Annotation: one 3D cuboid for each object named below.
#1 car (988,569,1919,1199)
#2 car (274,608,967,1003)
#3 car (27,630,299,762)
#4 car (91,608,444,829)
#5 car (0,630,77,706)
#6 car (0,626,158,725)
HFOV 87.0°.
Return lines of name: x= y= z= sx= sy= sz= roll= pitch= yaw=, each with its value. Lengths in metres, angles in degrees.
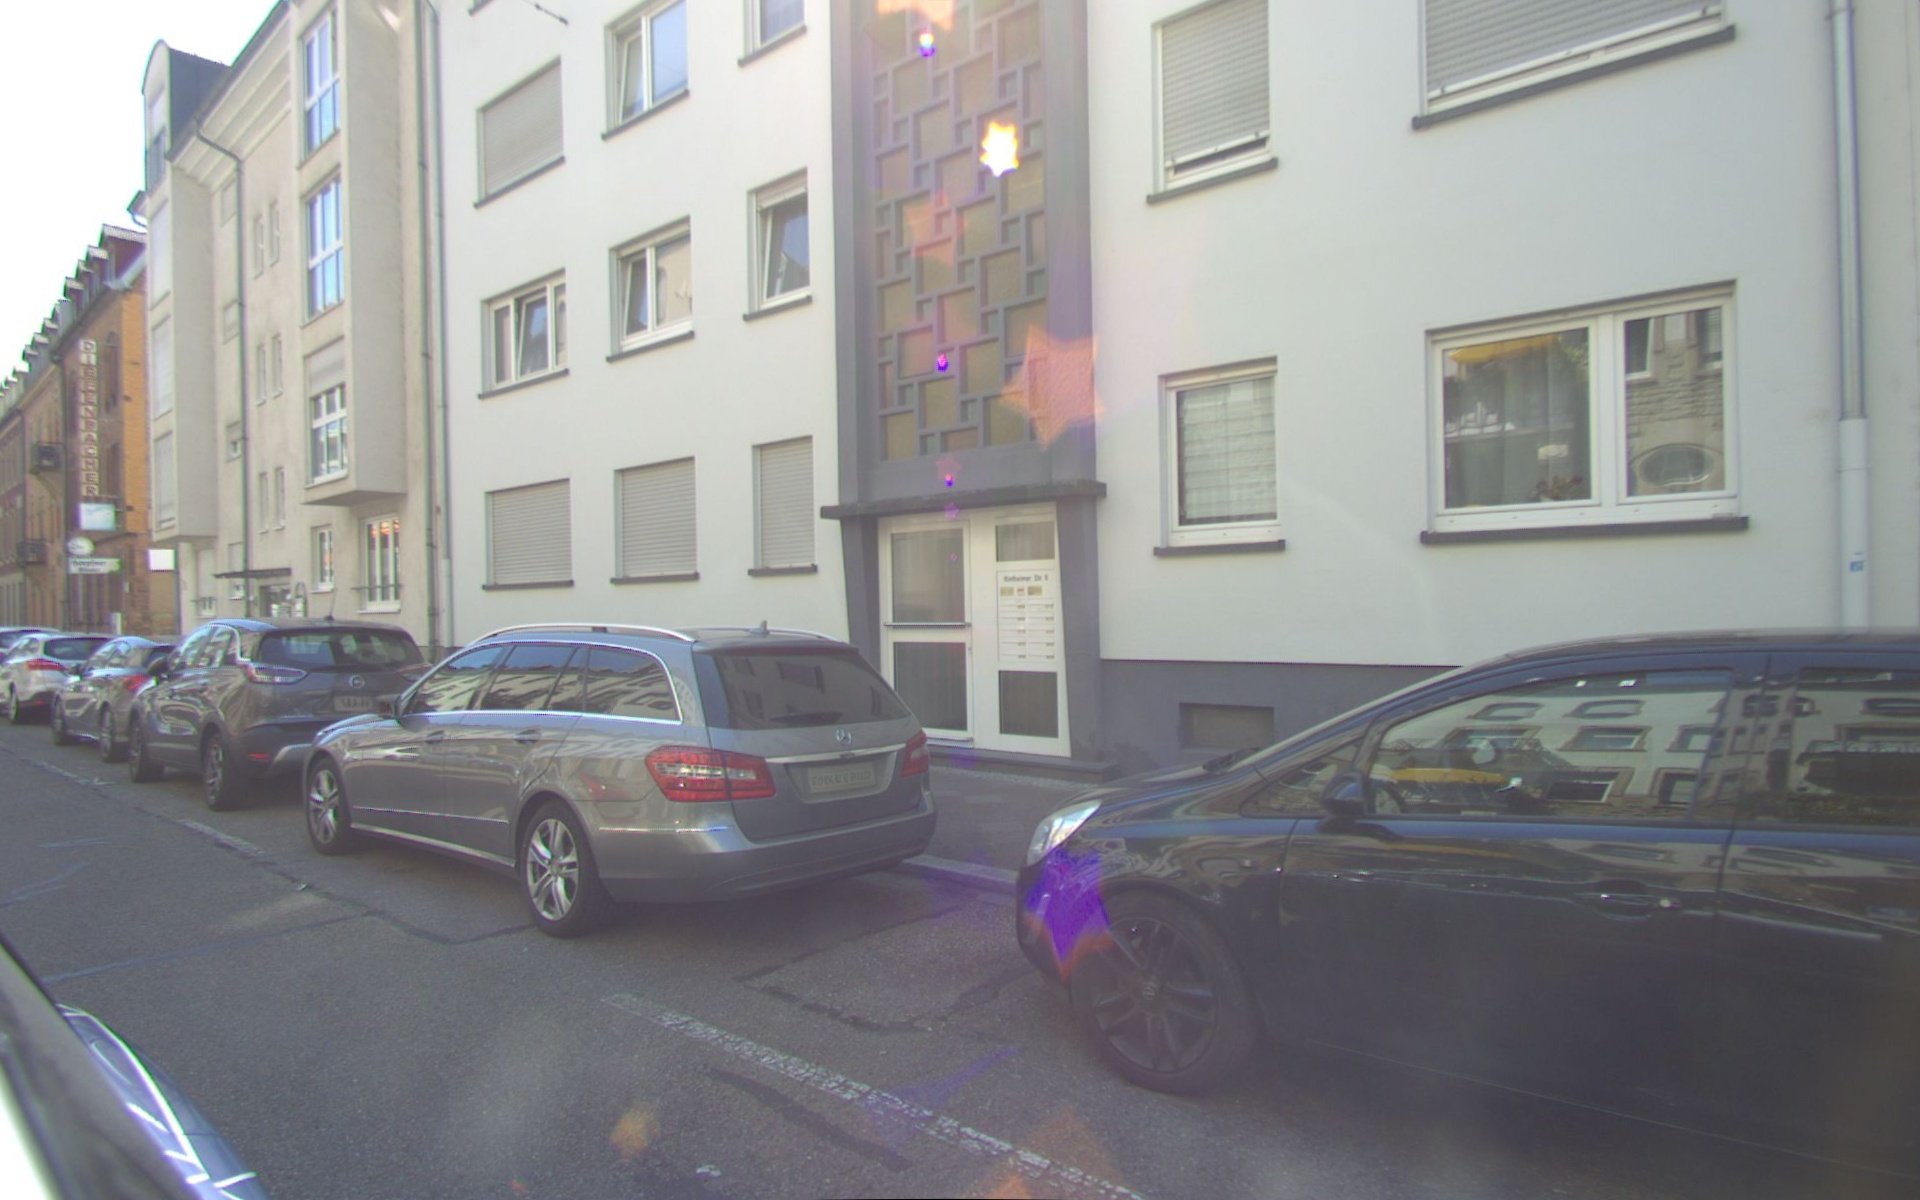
car: x=2.097 y=0.717 z=2.959 sx=3.889 sy=1.503 sz=1.552 roll=-1 pitch=-2 yaw=38
car: x=-2.294 y=0.857 z=6.052 sx=4.665 sy=1.530 sz=1.640 roll=-1 pitch=-2 yaw=38
car: x=-10.258 y=1.098 z=12.918 sx=4.343 sy=1.404 sz=1.748 roll=-1 pitch=-2 yaw=38
car: x=-6.589 y=0.944 z=9.483 sx=3.972 sy=1.657 sz=1.588 roll=-1 pitch=-2 yaw=38
car: x=-20.946 y=1.442 z=22.096 sx=3.845 sy=1.561 sz=1.614 roll=-1 pitch=-4 yaw=36
car: x=-15.621 y=1.230 z=17.533 sx=4.343 sy=1.506 sz=1.714 roll=-1 pitch=-3 yaw=38
